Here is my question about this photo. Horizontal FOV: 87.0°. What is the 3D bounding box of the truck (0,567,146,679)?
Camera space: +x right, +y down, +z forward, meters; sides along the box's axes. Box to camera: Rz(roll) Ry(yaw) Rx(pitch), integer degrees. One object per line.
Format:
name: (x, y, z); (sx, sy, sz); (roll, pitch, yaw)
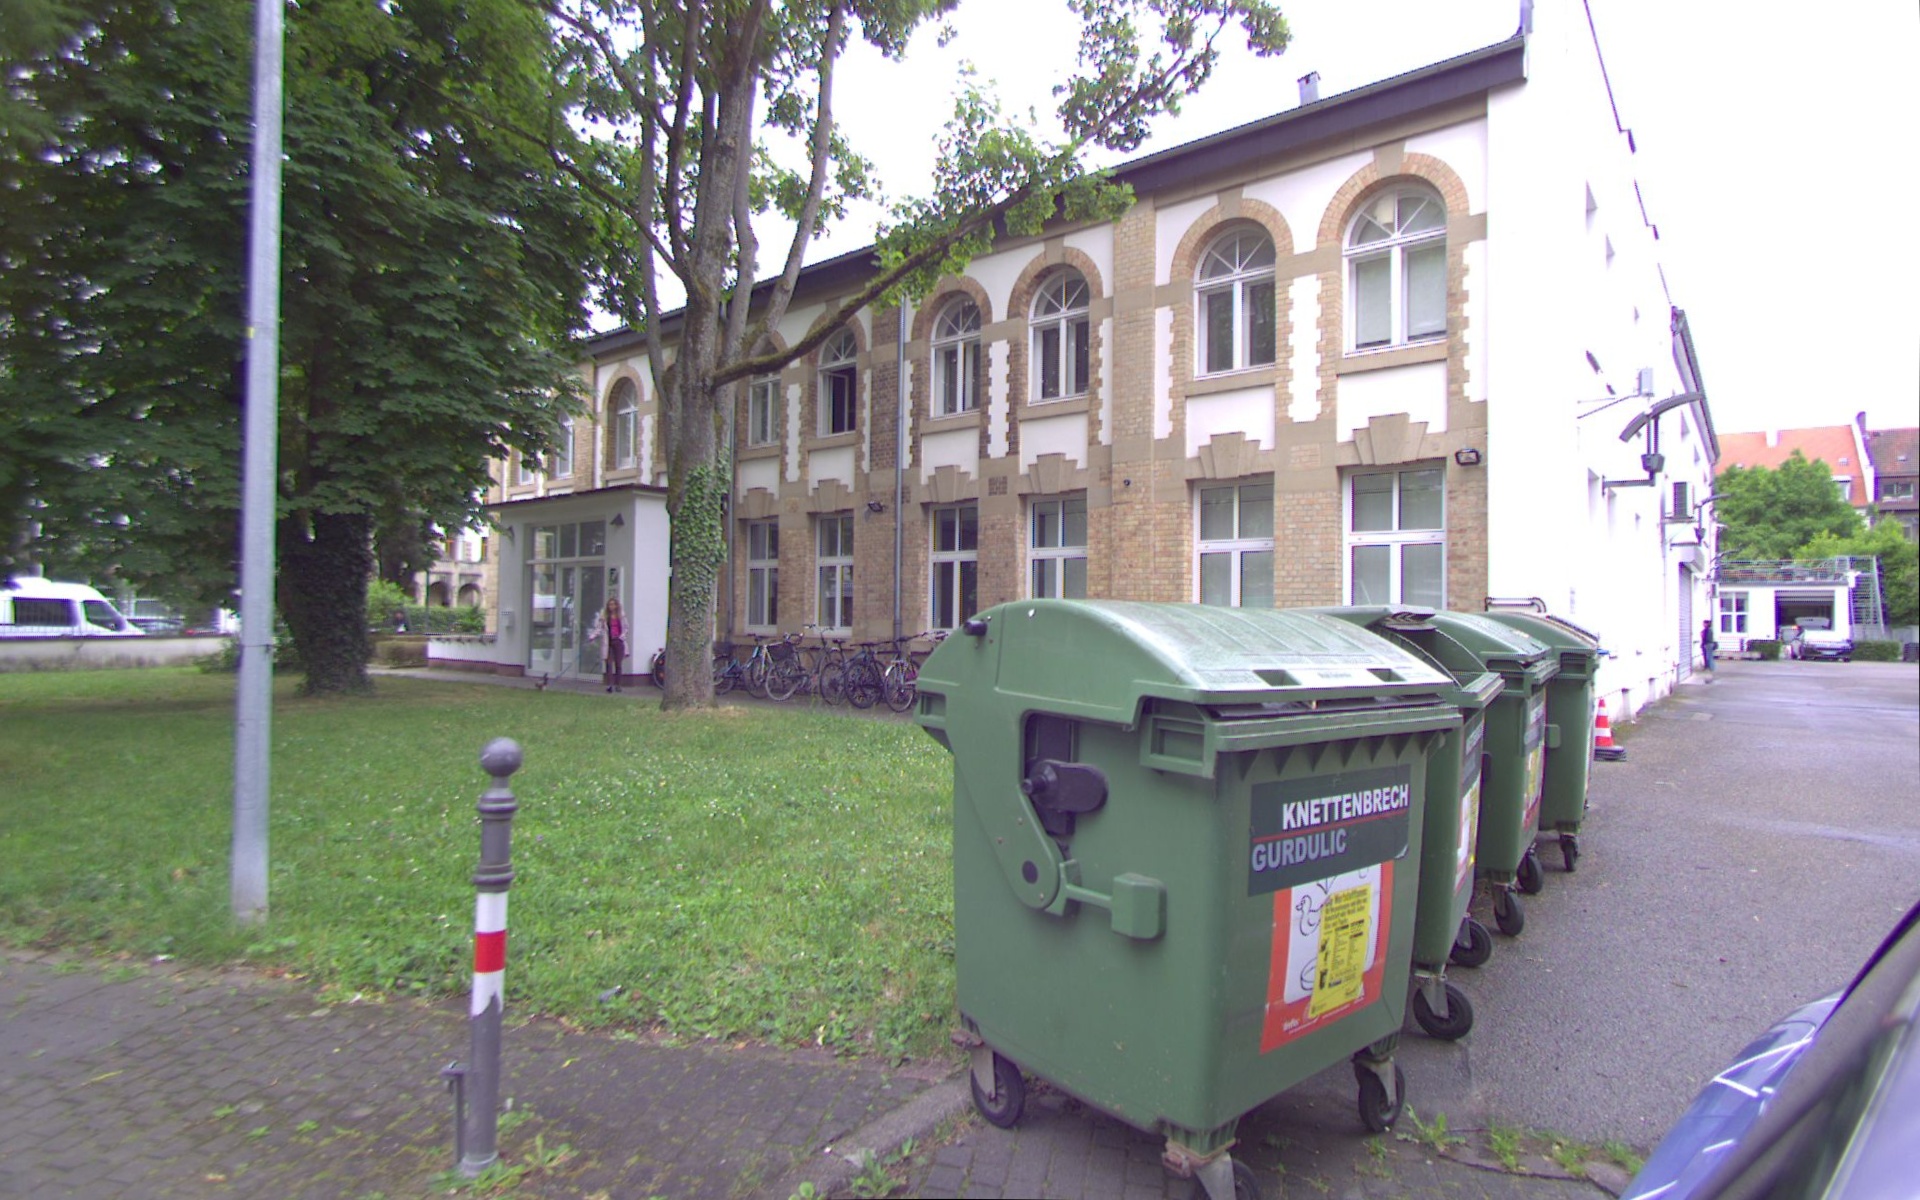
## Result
truck: (-23.114, 0.540, 24.635); (2.136, 2.578, 4.910); (0, -1, 11)

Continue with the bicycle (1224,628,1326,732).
bicycle: (3.742, 0.908, 11.964); (0.459, 1.129, 1.717); (-1, -2, 43)

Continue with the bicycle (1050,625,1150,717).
bicycle: (1.888, 0.906, 13.453); (0.459, 1.129, 1.718); (-1, -1, 41)

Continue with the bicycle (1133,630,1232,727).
bicycle: (2.846, 0.953, 12.839); (0.459, 1.129, 1.718); (-1, -1, 41)

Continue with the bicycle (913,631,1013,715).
bicycle: (0.070, 1.031, 14.774); (0.459, 1.129, 1.718); (-1, -1, 41)

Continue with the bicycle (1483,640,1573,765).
bicycle: (5.780, 0.985, 10.262); (0.459, 1.129, 1.718); (-1, -1, 41)

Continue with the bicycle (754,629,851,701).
bicycle: (-2.625, 1.054, 16.976); (0.459, 1.129, 1.718); (-1, -1, 41)

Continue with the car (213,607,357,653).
car: (-21.428, 0.921, 32.314); (1.782, 1.371, 3.802); (0, -1, 8)

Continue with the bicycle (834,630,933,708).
bicycle: (-1.164, 1.048, 15.767); (0.459, 1.129, 1.718); (-1, -1, 41)

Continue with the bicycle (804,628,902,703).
bicycle: (-1.697, 1.023, 16.260); (0.459, 1.129, 1.718); (-1, -1, 41)

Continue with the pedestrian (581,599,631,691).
pedestrian: (-6.367, 0.793, 18.216); (0.624, 1.607, 0.595); (-1, -2, 39)

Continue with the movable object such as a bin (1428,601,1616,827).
movable object such as a bin: (4.173, 0.756, 7.478); (1.101, 1.469, 1.346); (-1, -2, 34)

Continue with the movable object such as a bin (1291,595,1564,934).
movable object such as a bin: (2.455, 0.729, 5.252); (1.101, 1.469, 1.279); (-1, -2, 34)

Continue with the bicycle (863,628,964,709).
bicycle: (-0.675, 1.002, 15.225); (0.459, 1.129, 1.718); (-1, -1, 41)

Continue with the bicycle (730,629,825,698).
bicycle: (-3.136, 1.069, 17.546); (0.459, 1.129, 1.718); (-1, -1, 41)

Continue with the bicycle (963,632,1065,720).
bicycle: (0.780, 1.024, 14.119); (0.459, 1.129, 1.718); (-1, -1, 41)

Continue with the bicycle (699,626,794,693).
bicycle: (-3.784, 1.032, 18.029); (0.459, 1.129, 1.718); (-1, -1, 41)

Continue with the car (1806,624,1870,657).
car: (41.064, 1.879, 47.421); (1.908, 1.416, 3.948); (-1, -1, 36)

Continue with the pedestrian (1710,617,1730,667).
pedestrian: (24.296, 1.322, 32.359); (0.496, 1.582, 0.423); (-1, -2, 36)

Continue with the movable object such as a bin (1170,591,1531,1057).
movable object such as a bin: (1.598, 0.723, 4.054); (1.101, 1.469, 1.270); (-1, -2, 34)

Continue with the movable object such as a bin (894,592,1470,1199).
movable object such as a bin: (0.632, 0.718, 2.876); (1.253, 1.452, 1.070); (1, -1, -41)

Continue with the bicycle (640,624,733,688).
bicycle: (-5.110, 1.022, 18.999); (0.459, 1.129, 1.718); (-1, -1, 41)

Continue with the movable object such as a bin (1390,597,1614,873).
movable object such as a bin: (3.380, 0.734, 6.266); (1.101, 1.469, 1.310); (-1, -2, 34)

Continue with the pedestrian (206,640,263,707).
pedestrian: (-19.493, 1.955, 27.210); (0.794, 1.740, 0.954); (0, -2, 5)
